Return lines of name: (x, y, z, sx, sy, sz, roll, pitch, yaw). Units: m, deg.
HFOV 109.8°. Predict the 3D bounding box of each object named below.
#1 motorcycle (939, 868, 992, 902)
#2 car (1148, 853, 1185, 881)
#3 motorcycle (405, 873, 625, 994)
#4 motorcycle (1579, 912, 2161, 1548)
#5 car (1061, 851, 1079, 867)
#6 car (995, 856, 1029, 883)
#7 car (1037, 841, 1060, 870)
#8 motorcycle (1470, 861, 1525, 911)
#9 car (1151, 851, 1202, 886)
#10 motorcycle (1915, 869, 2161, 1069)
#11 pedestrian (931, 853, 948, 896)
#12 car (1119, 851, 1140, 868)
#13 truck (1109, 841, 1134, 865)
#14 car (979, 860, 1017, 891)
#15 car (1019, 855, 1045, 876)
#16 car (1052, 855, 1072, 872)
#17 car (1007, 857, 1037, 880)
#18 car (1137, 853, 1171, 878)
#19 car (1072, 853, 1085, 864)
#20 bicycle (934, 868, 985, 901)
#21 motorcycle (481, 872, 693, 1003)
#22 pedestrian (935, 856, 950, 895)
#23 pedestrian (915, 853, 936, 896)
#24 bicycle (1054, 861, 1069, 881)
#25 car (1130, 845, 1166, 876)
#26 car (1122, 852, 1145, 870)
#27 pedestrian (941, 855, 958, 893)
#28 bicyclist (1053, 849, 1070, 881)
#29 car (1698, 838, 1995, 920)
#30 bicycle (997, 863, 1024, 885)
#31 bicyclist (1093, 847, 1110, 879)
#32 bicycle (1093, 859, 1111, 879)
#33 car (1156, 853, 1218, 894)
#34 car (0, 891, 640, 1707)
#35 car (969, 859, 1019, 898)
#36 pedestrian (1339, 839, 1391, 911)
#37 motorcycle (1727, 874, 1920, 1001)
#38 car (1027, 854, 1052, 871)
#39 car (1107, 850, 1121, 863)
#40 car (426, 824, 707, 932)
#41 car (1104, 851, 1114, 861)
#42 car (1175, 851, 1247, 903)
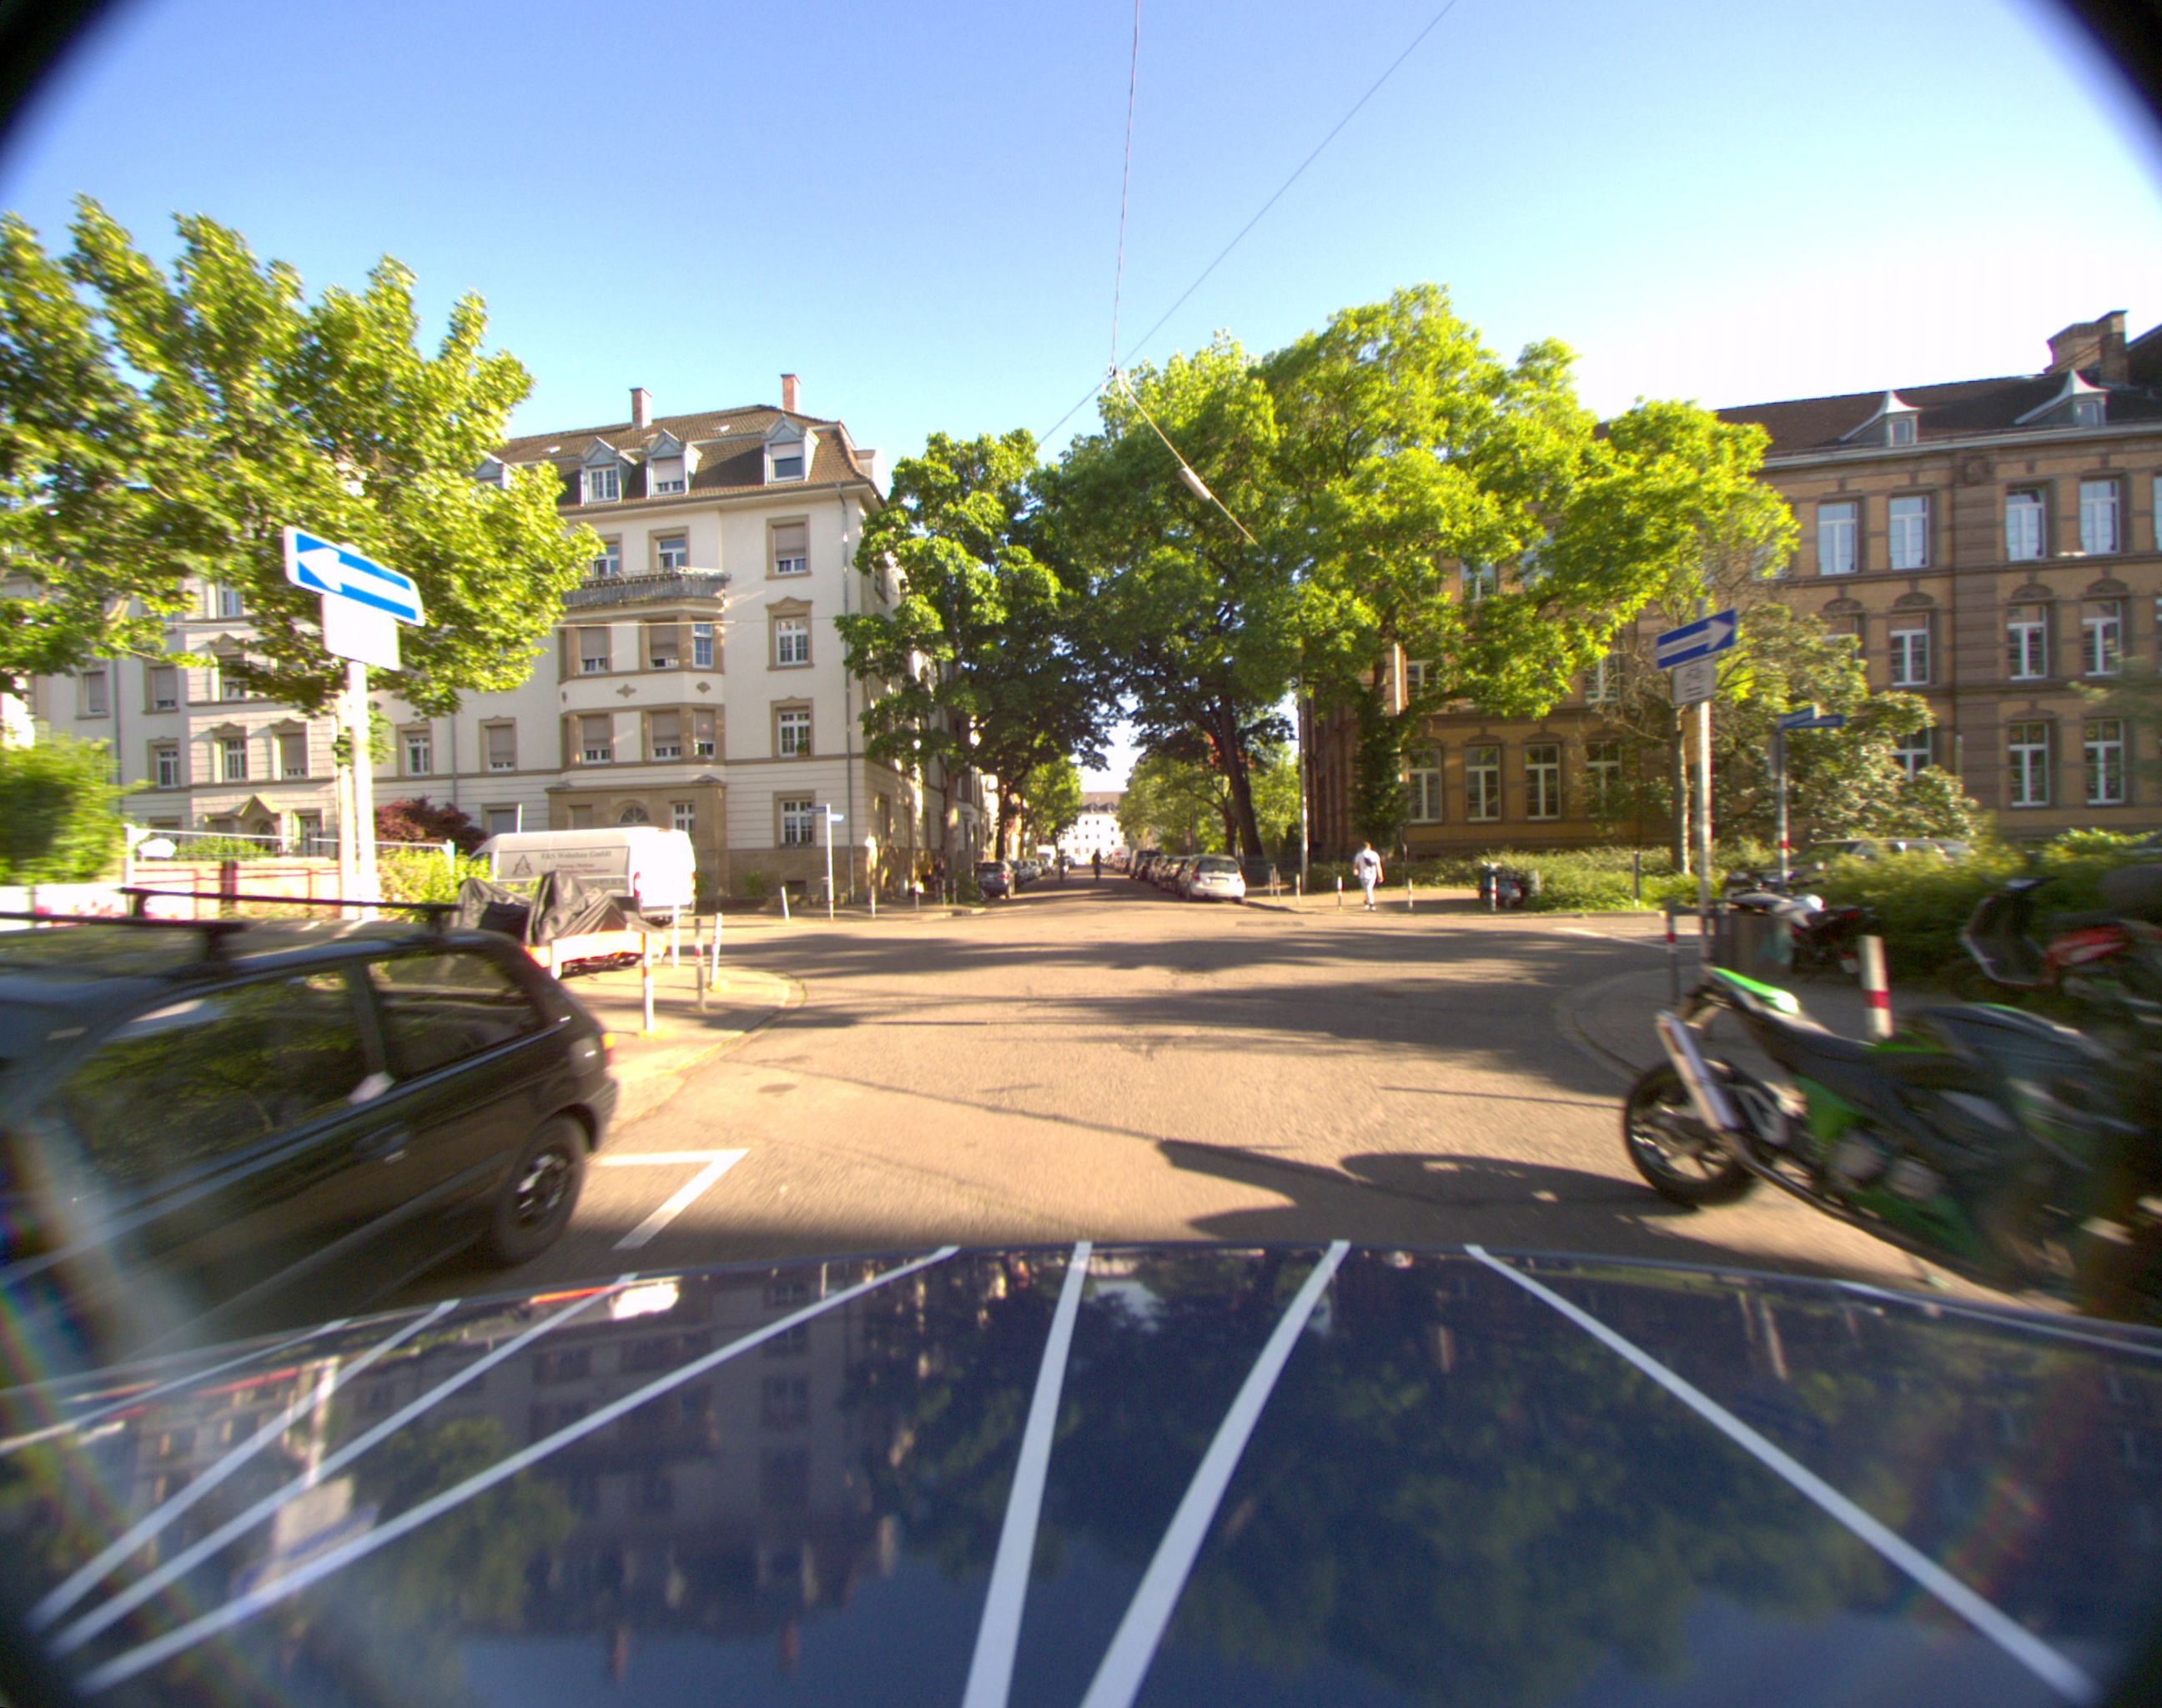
motorcycle: (-4.254, 1.150, 28.033, 1.855, 1.205, 0.678, 1, -1, -3)
car: (4.602, 0.683, 41.279, 1.624, 1.455, 3.311, 0, 0, 0)
motorcycle: (-7.717, 1.013, 10.592, 0.870, 1.396, 2.544, -1, 1, 9)
motorcycle: (2.748, 0.936, 2.533, 0.678, 1.326, 1.999, 1, 0, -6)
car: (-1.455, 0.658, 101.156, 2.146, 2.002, 4.863, -1, 0, 1)
car: (-4.168, 0.892, 46.348, 1.639, 1.523, 4.000, -1, 0, 1)
car: (-3.501, 0.148, 82.666, 1.998, 2.983, 6.239, -4, 0, 1)
motorcycle: (9.914, 0.745, 18.136, 0.543, 1.095, 1.897, -1, 0, 10)
car: (4.450, 0.654, 35.890, 1.793, 1.524, 3.999, 2, 0, -1)
motorcycle: (7.448, 0.758, 5.777, 0.612, 1.190, 2.046, -1, 1, 20)
pedestrian: (-5.688, 0.825, 30.577, 0.520, 1.708, 0.516, -1, 1, -2)
car: (4.568, 0.482, 72.397, 1.755, 1.464, 4.000, -3, 0, 1)
truck: (4.804, -0.167, 90.176, 2.395, 2.641, 7.092, -1, 0, -1)
car: (-4.088, 1.022, 37.991, 1.728, 1.398, 3.854, -1, 0, -4)
car: (-3.906, 0.890, 61.119, 1.824, 1.521, 4.000, -1, 0, 1)
car: (-1.728, 0.890, 70.576, 1.654, 1.449, 4.000, -1, 0, 1)
car: (-3.985, 0.962, 52.123, 1.651, 1.433, 4.000, -1, 0, 1)
car: (4.389, 0.655, 46.084, 1.731, 1.455, 3.844, 0, 0, 0)
car: (-0.406, 0.738, 131.750, 2.146, 1.758, 4.809, -1, 0, 2)
bicycle: (-4.357, 1.084, 27.166, 1.795, 1.155, 0.433, 0, 1, 16)
motorcycle: (-6.549, 1.021, 10.339, 0.873, 1.516, 2.625, -1, -1, 9)
pedestrian: (-6.711, 1.041, 36.821, 0.529, 1.834, 0.707, -1, 1, 1)
pedestrian: (-6.303, 0.819, 30.878, 0.624, 1.675, 0.818, -1, 1, 0)
bicycle: (-1.162, 0.992, 45.237, 0.810, 1.136, 2.547, -1, 0, 0)
car: (4.481, 0.422, 51.566, 1.998, 1.946, 5.042, 1, 0, 1)
car: (4.520, 0.607, 66.046, 1.739, 1.456, 4.000, -1, 0, 1)
pedestrian: (-6.523, 0.980, 37.740, 0.706, 1.834, 0.840, -2, 1, -5)
bicyclist: (-1.162, 0.647, 45.223, 0.934, 1.809, 1.078, -1, 1, 1)
car: (15.970, 0.509, 16.087, 4.139, 1.566, 1.886, -1, 1, 8)
bicycle: (-3.827, 1.094, 41.329, 1.414, 1.188, 0.336, -1, 1, -2)
bicyclist: (1.230, 0.546, 45.690, 0.967, 1.904, 1.139, -1, 1, 1)
bicycle: (1.241, 0.868, 45.753, 0.985, 1.136, 2.547, -1, 0, 0)
car: (4.274, 0.732, 31.240, 1.586, 1.456, 3.997, 2, 1, -6)
car: (-2.896, 0.933, 1.670, 1.672, 1.474, 3.706, -1, 0, -1)
car: (-3.643, 0.999, 32.338, 1.685, 1.531, 4.134, 0, 0, -1)
pedestrian: (7.181, 0.517, 19.258, 0.805, 1.736, 1.005, -1, 1, -10)
motorcycle: (7.716, 0.810, 8.028, 0.640, 1.083, 1.872, -1, 1, 16)
car: (-3.551, 0.734, 65.784, 1.812, 1.412, 4.000, -1, 0, 1)
car: (4.813, 0.310, 110.335, 1.809, 1.791, 4.189, -1, 0, 0)
car: (-12.555, 0.580, 18.722, 5.656, 2.453, 2.307, -1, 1, 10)
car: (4.629, 0.262, 126.181, 1.597, 1.557, 3.999, -1, 0, 0)
car: (4.333, 0.722, 25.824, 1.710, 1.549, 3.952, 2, 1, 0)
